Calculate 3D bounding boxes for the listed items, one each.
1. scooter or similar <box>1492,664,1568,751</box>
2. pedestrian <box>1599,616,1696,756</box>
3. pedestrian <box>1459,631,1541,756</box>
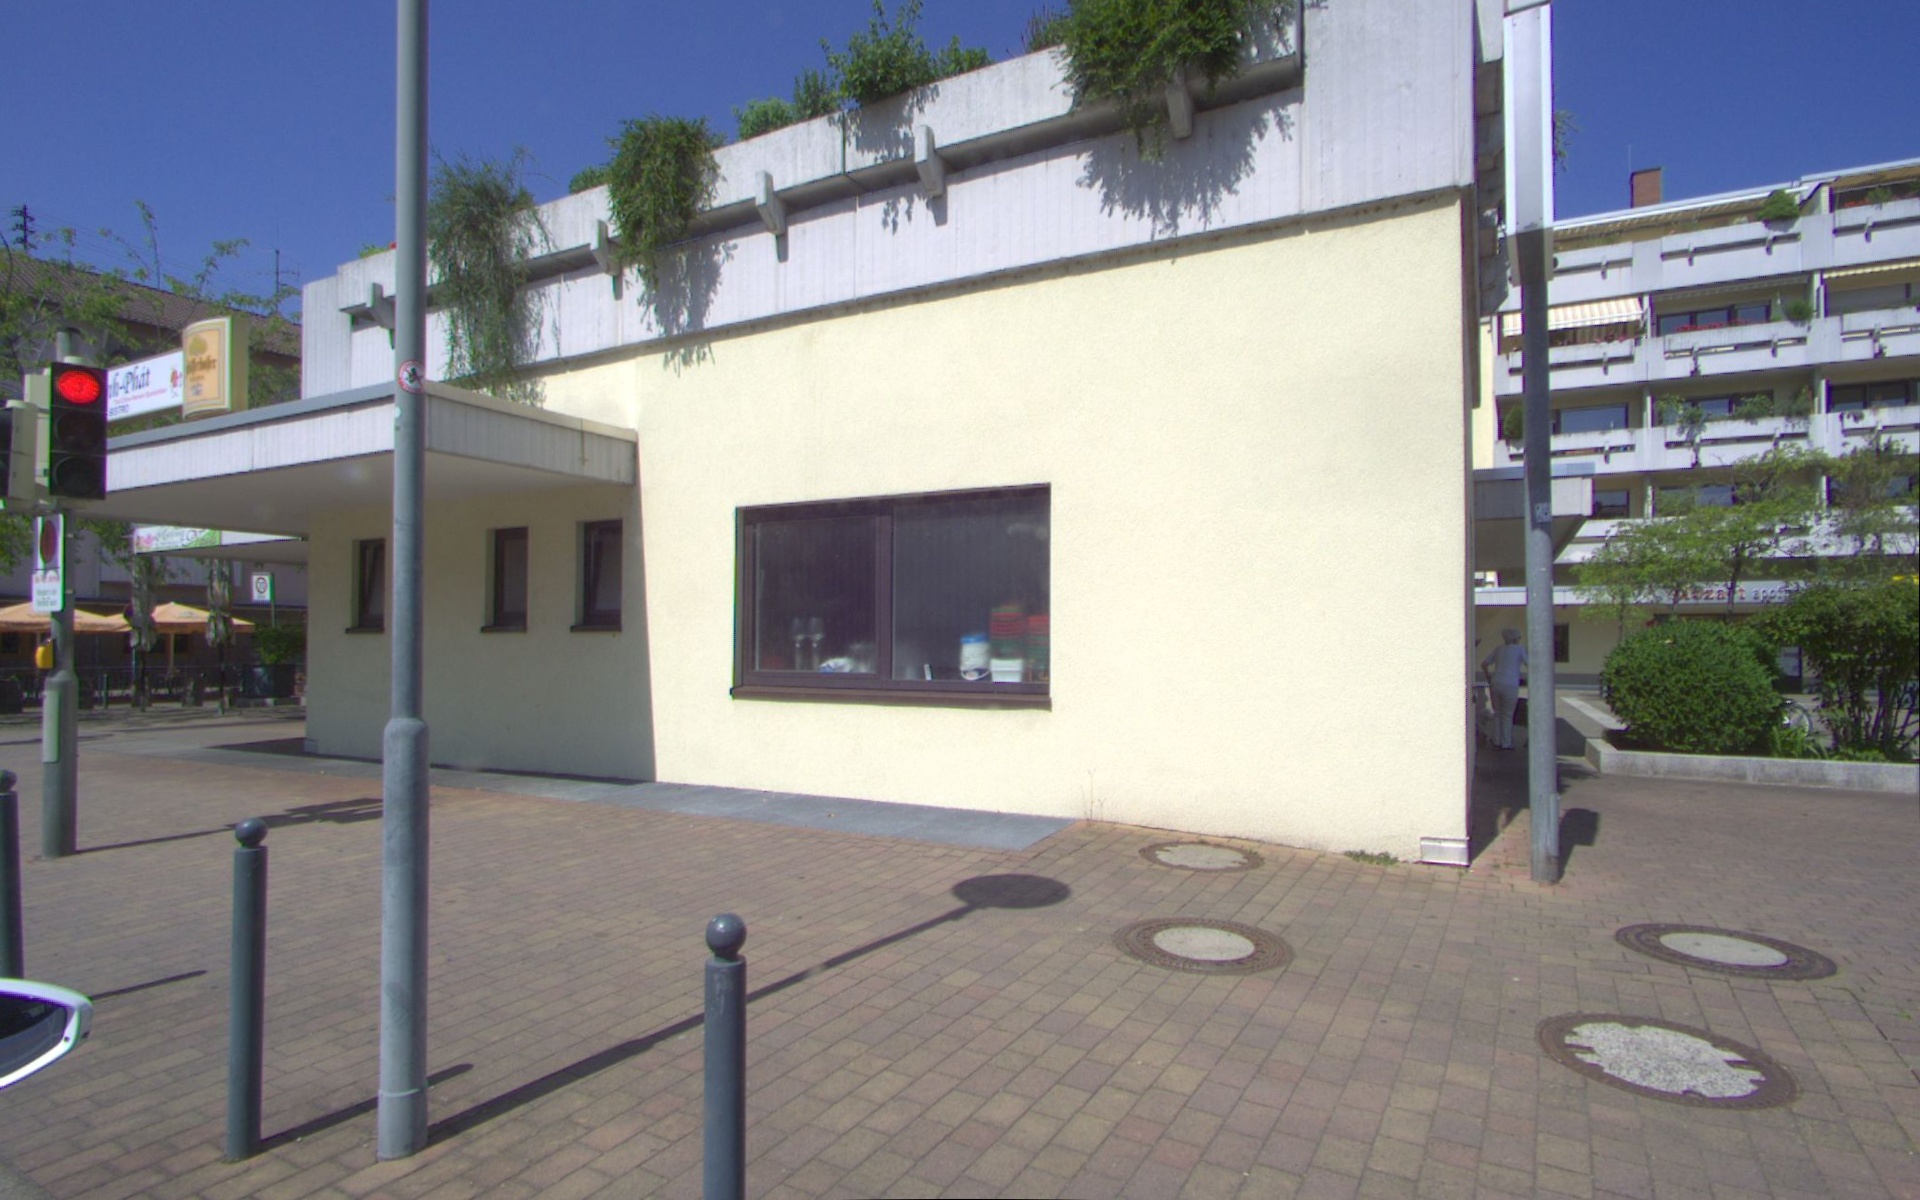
[{"bbox_3d":[7.501,1.397,13.175,0.795,1.088,0.587,2,-2,-35],"label":"scooter or similar"},{"bbox_3d":[8.976,1.099,13.103,0.887,1.758,0.703,0,-2,22],"label":"pedestrian"},{"bbox_3d":[6.856,1.164,12.718,0.801,1.516,0.615,1,-2,-35],"label":"pedestrian"}]
